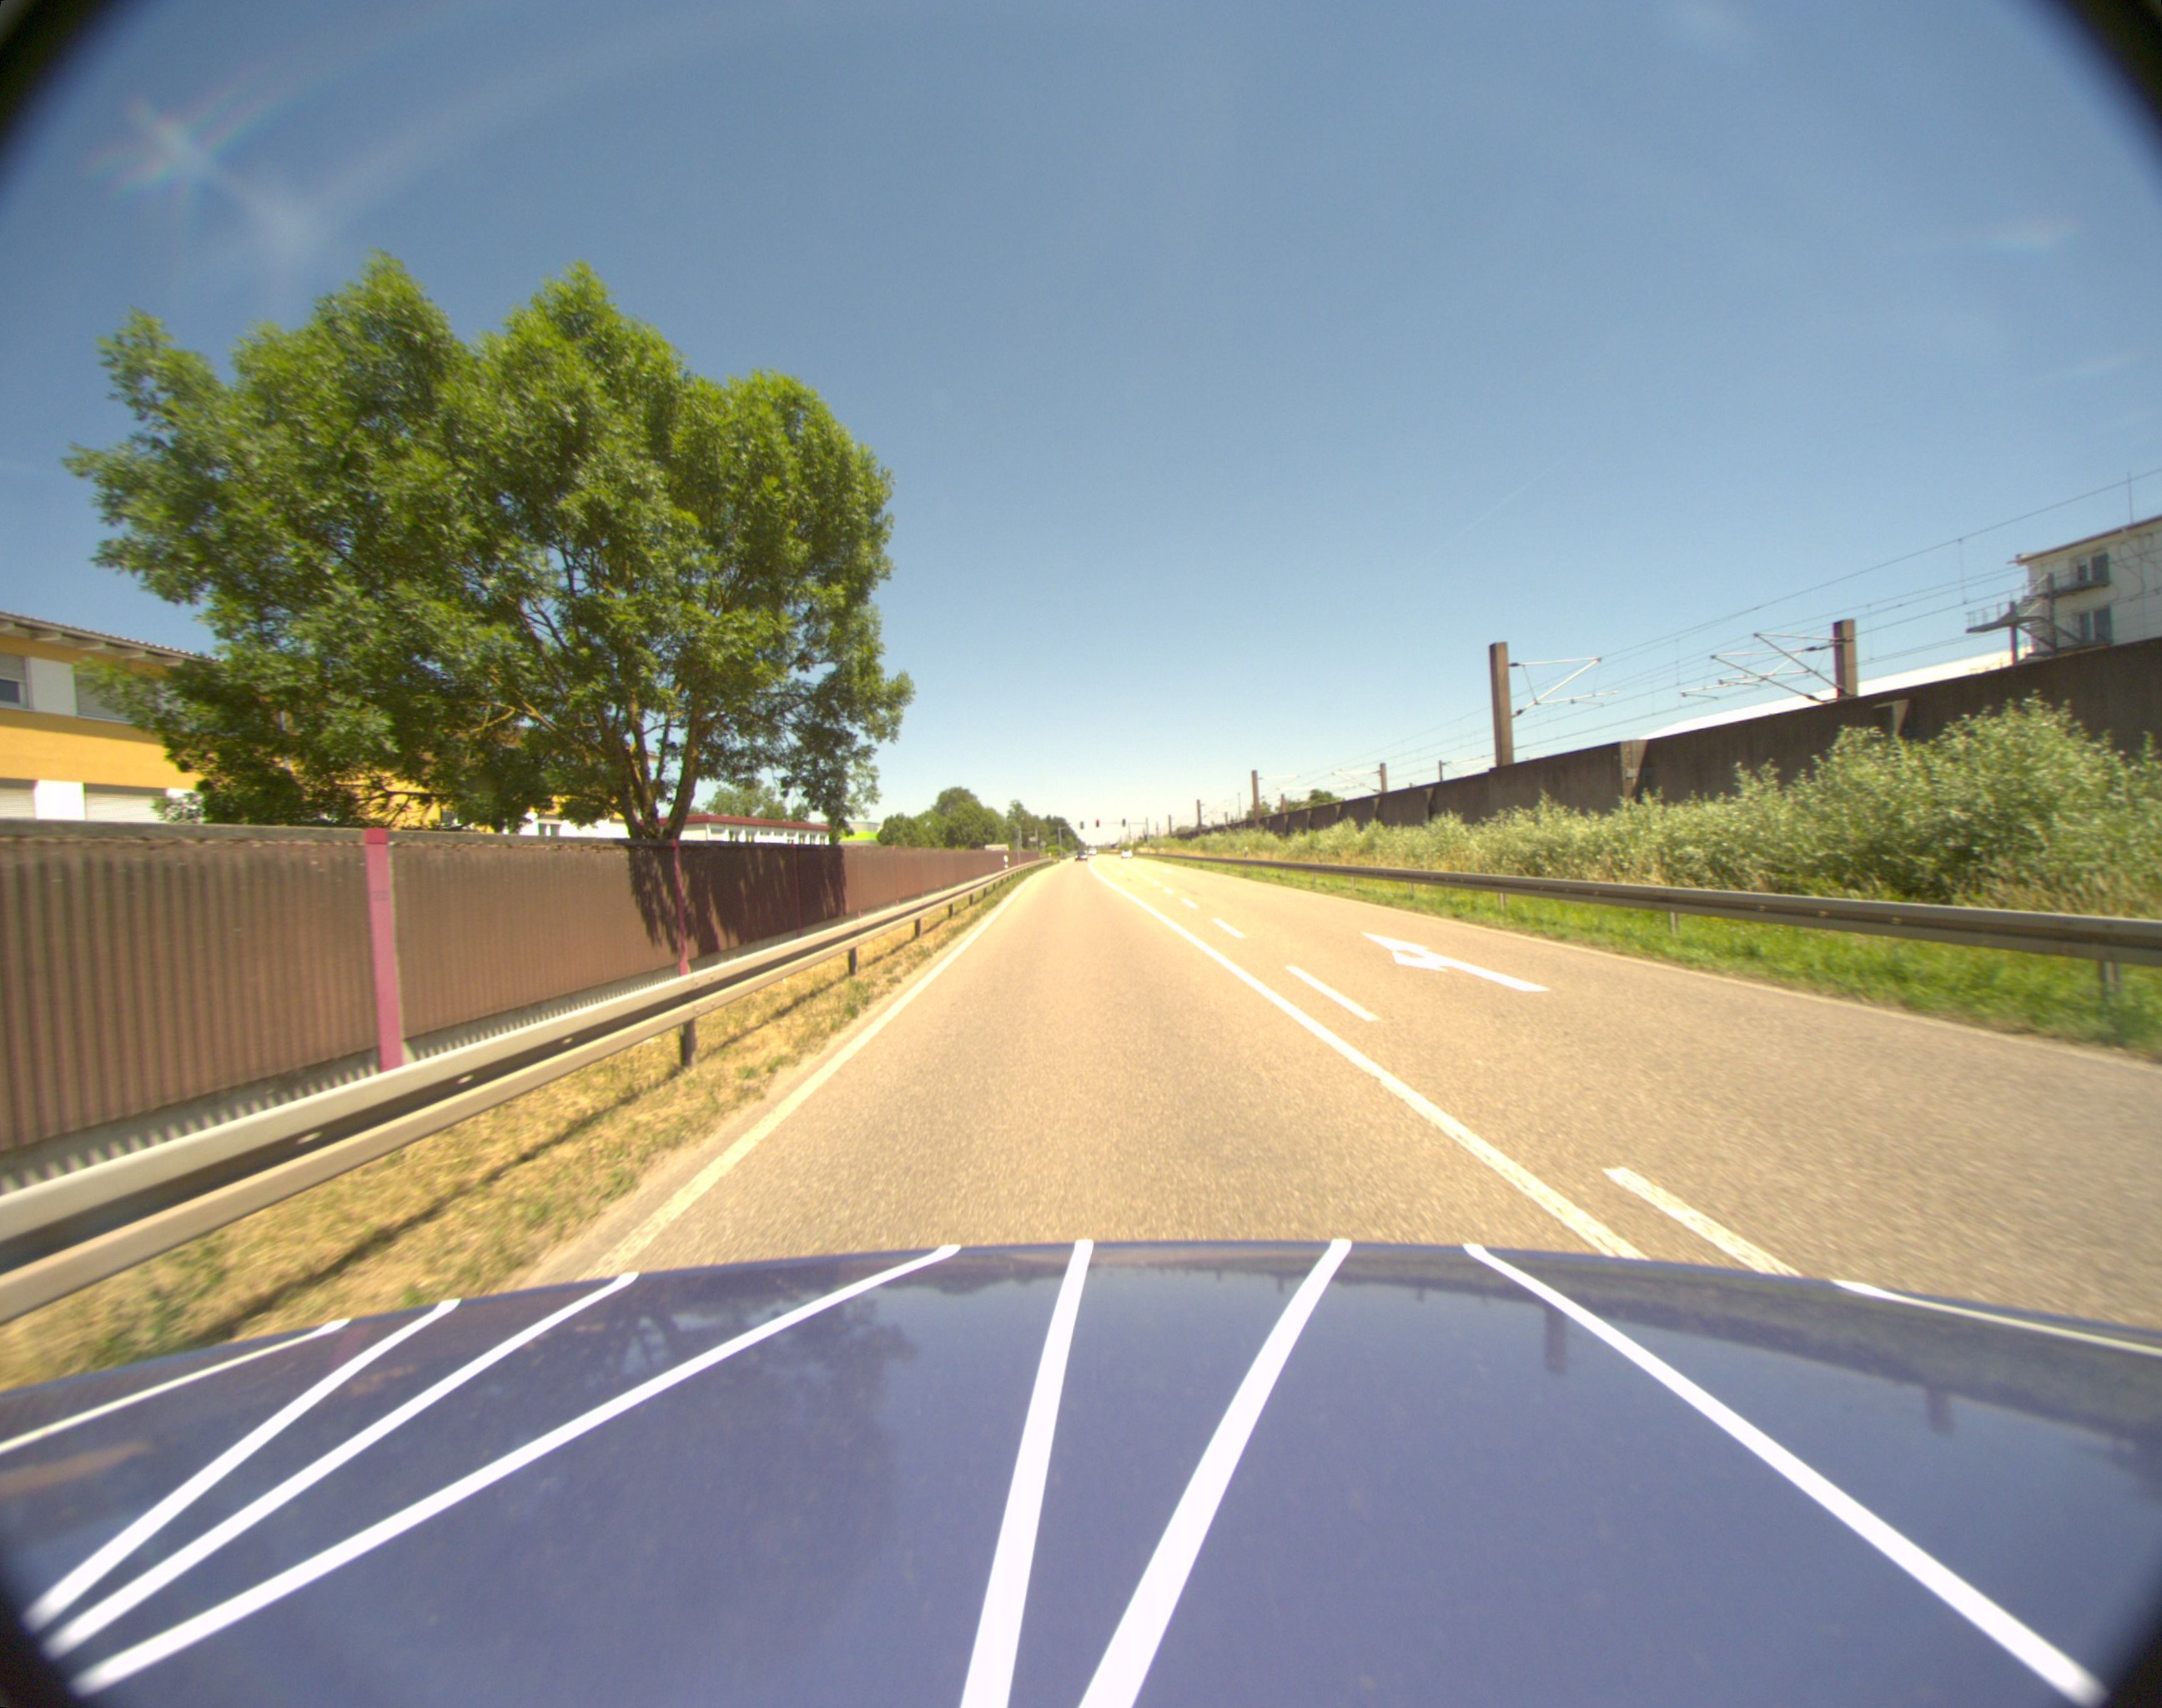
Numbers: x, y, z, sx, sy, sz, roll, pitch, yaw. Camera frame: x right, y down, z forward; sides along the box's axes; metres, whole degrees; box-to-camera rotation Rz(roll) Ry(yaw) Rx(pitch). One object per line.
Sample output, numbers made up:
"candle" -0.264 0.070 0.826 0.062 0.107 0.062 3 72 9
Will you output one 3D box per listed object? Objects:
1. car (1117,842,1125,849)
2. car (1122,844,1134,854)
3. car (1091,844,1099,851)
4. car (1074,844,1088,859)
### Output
"car" 11.631 -2.448 221.260 1.998 2.002 3.999 -3 1 0
"car" 7.498 -0.805 122.356 1.600 1.466 3.773 -2 1 0
"car" 3.653 -1.753 205.207 1.998 2.002 3.999 -2 1 0
"car" -0.013 -0.337 109.352 1.999 2.002 3.999 -3 1 0
